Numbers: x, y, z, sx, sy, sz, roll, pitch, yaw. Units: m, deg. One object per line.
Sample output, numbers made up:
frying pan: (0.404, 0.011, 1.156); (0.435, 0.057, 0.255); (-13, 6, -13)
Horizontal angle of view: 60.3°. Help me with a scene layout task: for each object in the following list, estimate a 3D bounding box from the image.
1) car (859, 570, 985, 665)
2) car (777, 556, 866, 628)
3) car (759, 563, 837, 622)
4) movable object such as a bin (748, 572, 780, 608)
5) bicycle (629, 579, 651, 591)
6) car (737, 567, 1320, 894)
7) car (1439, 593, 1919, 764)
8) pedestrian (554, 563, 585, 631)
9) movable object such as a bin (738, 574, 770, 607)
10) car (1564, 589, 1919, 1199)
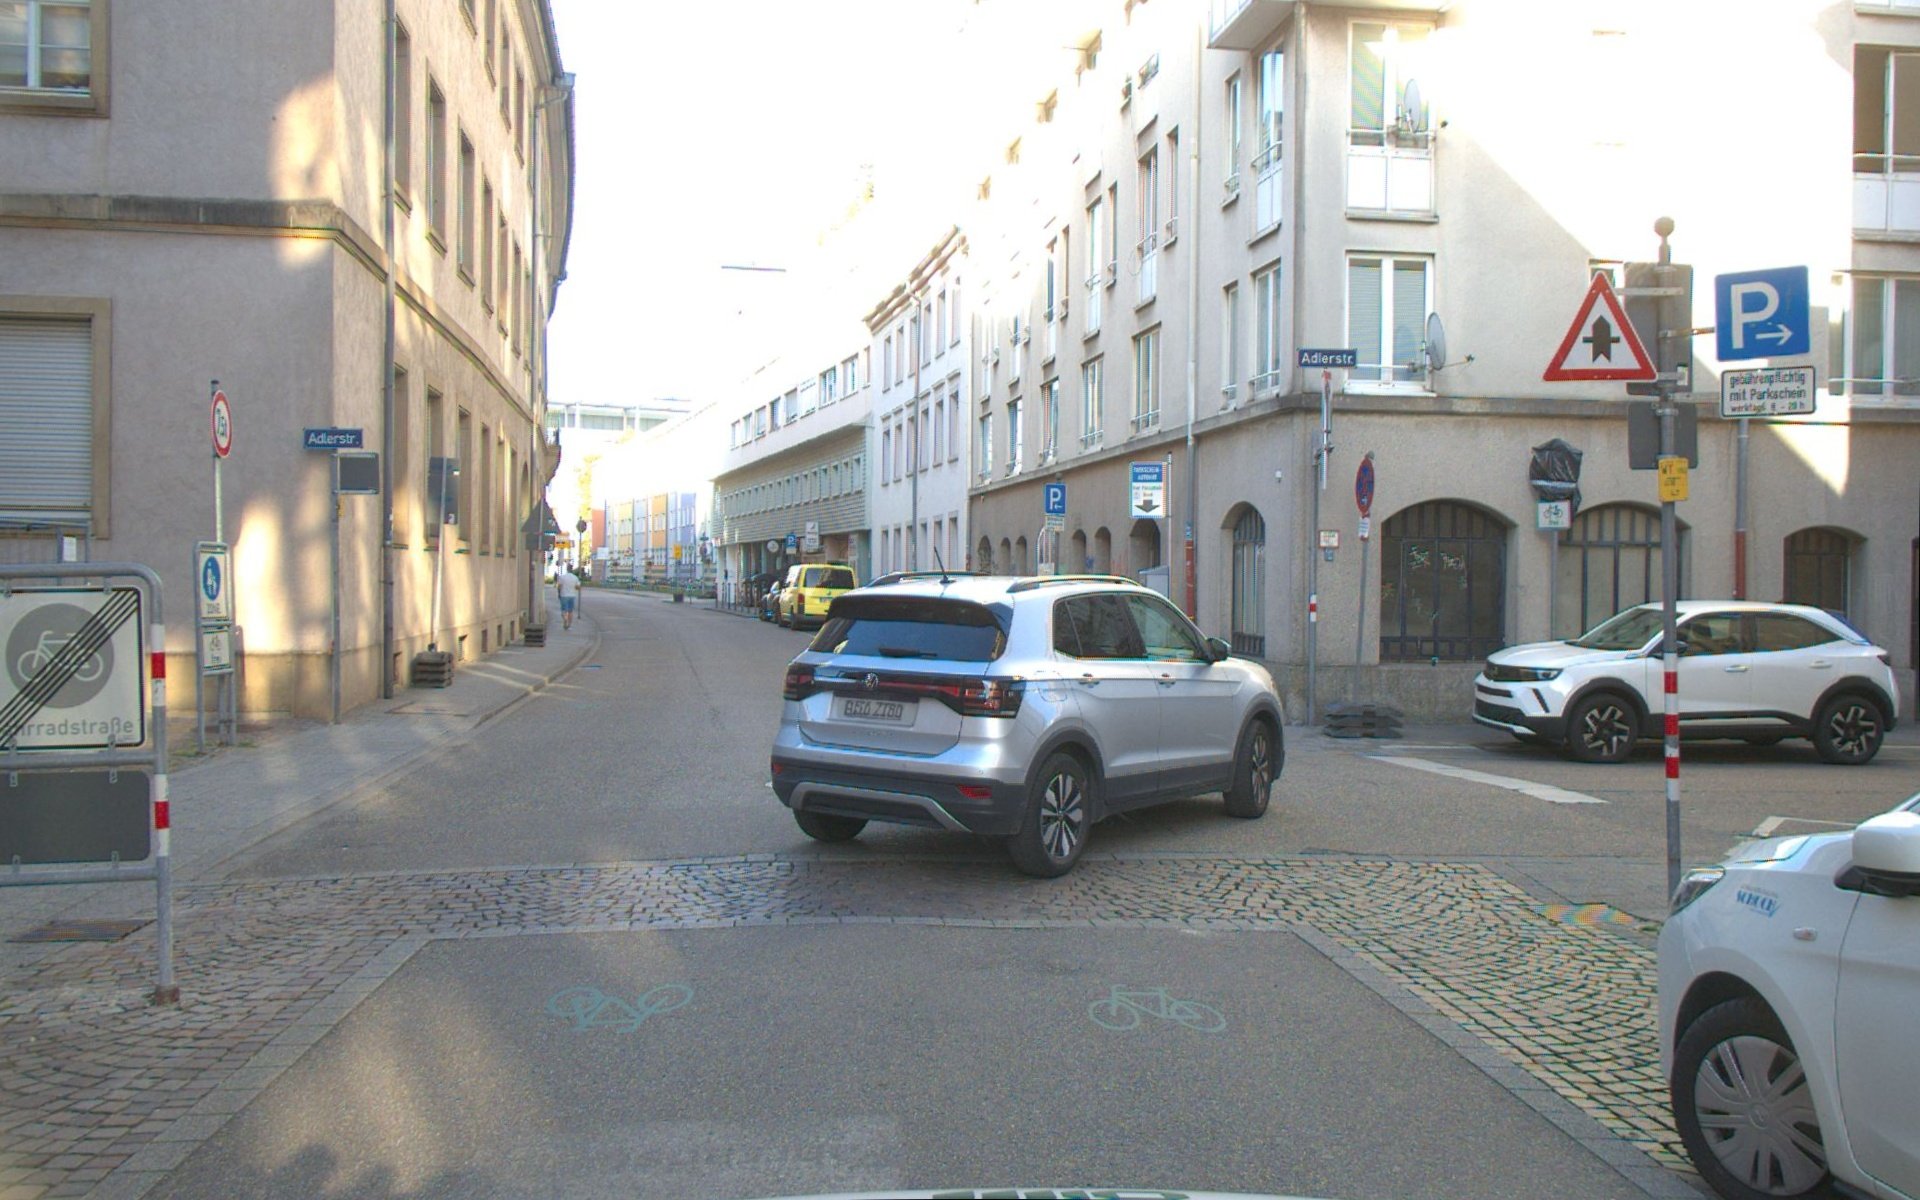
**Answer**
car: (-0.826, 0.293, 32.987); (1.932, 1.721, 4.092); (2, 1, -9)
car: (-4.178, -0.257, 49.318); (2.018, 2.049, 4.160); (0, 1, -14)
car: (-5.444, -0.275, 55.053); (2.018, 1.905, 4.085); (0, 1, -14)
movable object such as a bin: (-8.715, -0.436, 73.369); (1.114, 1.585, 1.731); (0, 1, -18)
bicycle: (-26.516, -1.242, 137.093); (1.751, 1.018, 0.544); (0, 1, -16)
car: (0.626, 0.599, 10.240); (1.804, 1.589, 3.988); (0, 1, 34)
car: (7.264, 0.764, 16.919); (4.132, 1.580, 1.900); (1, 1, -4)
pedestrian: (-10.190, -0.090, 43.125); (0.753, 1.754, 0.684); (0, 1, -16)
movable object such as a bin: (-9.347, -0.441, 75.046); (1.114, 1.505, 1.731); (0, 1, -18)
car: (3.064, 0.782, 3.311); (1.852, 1.544, 4.057); (1, 1, -7)
